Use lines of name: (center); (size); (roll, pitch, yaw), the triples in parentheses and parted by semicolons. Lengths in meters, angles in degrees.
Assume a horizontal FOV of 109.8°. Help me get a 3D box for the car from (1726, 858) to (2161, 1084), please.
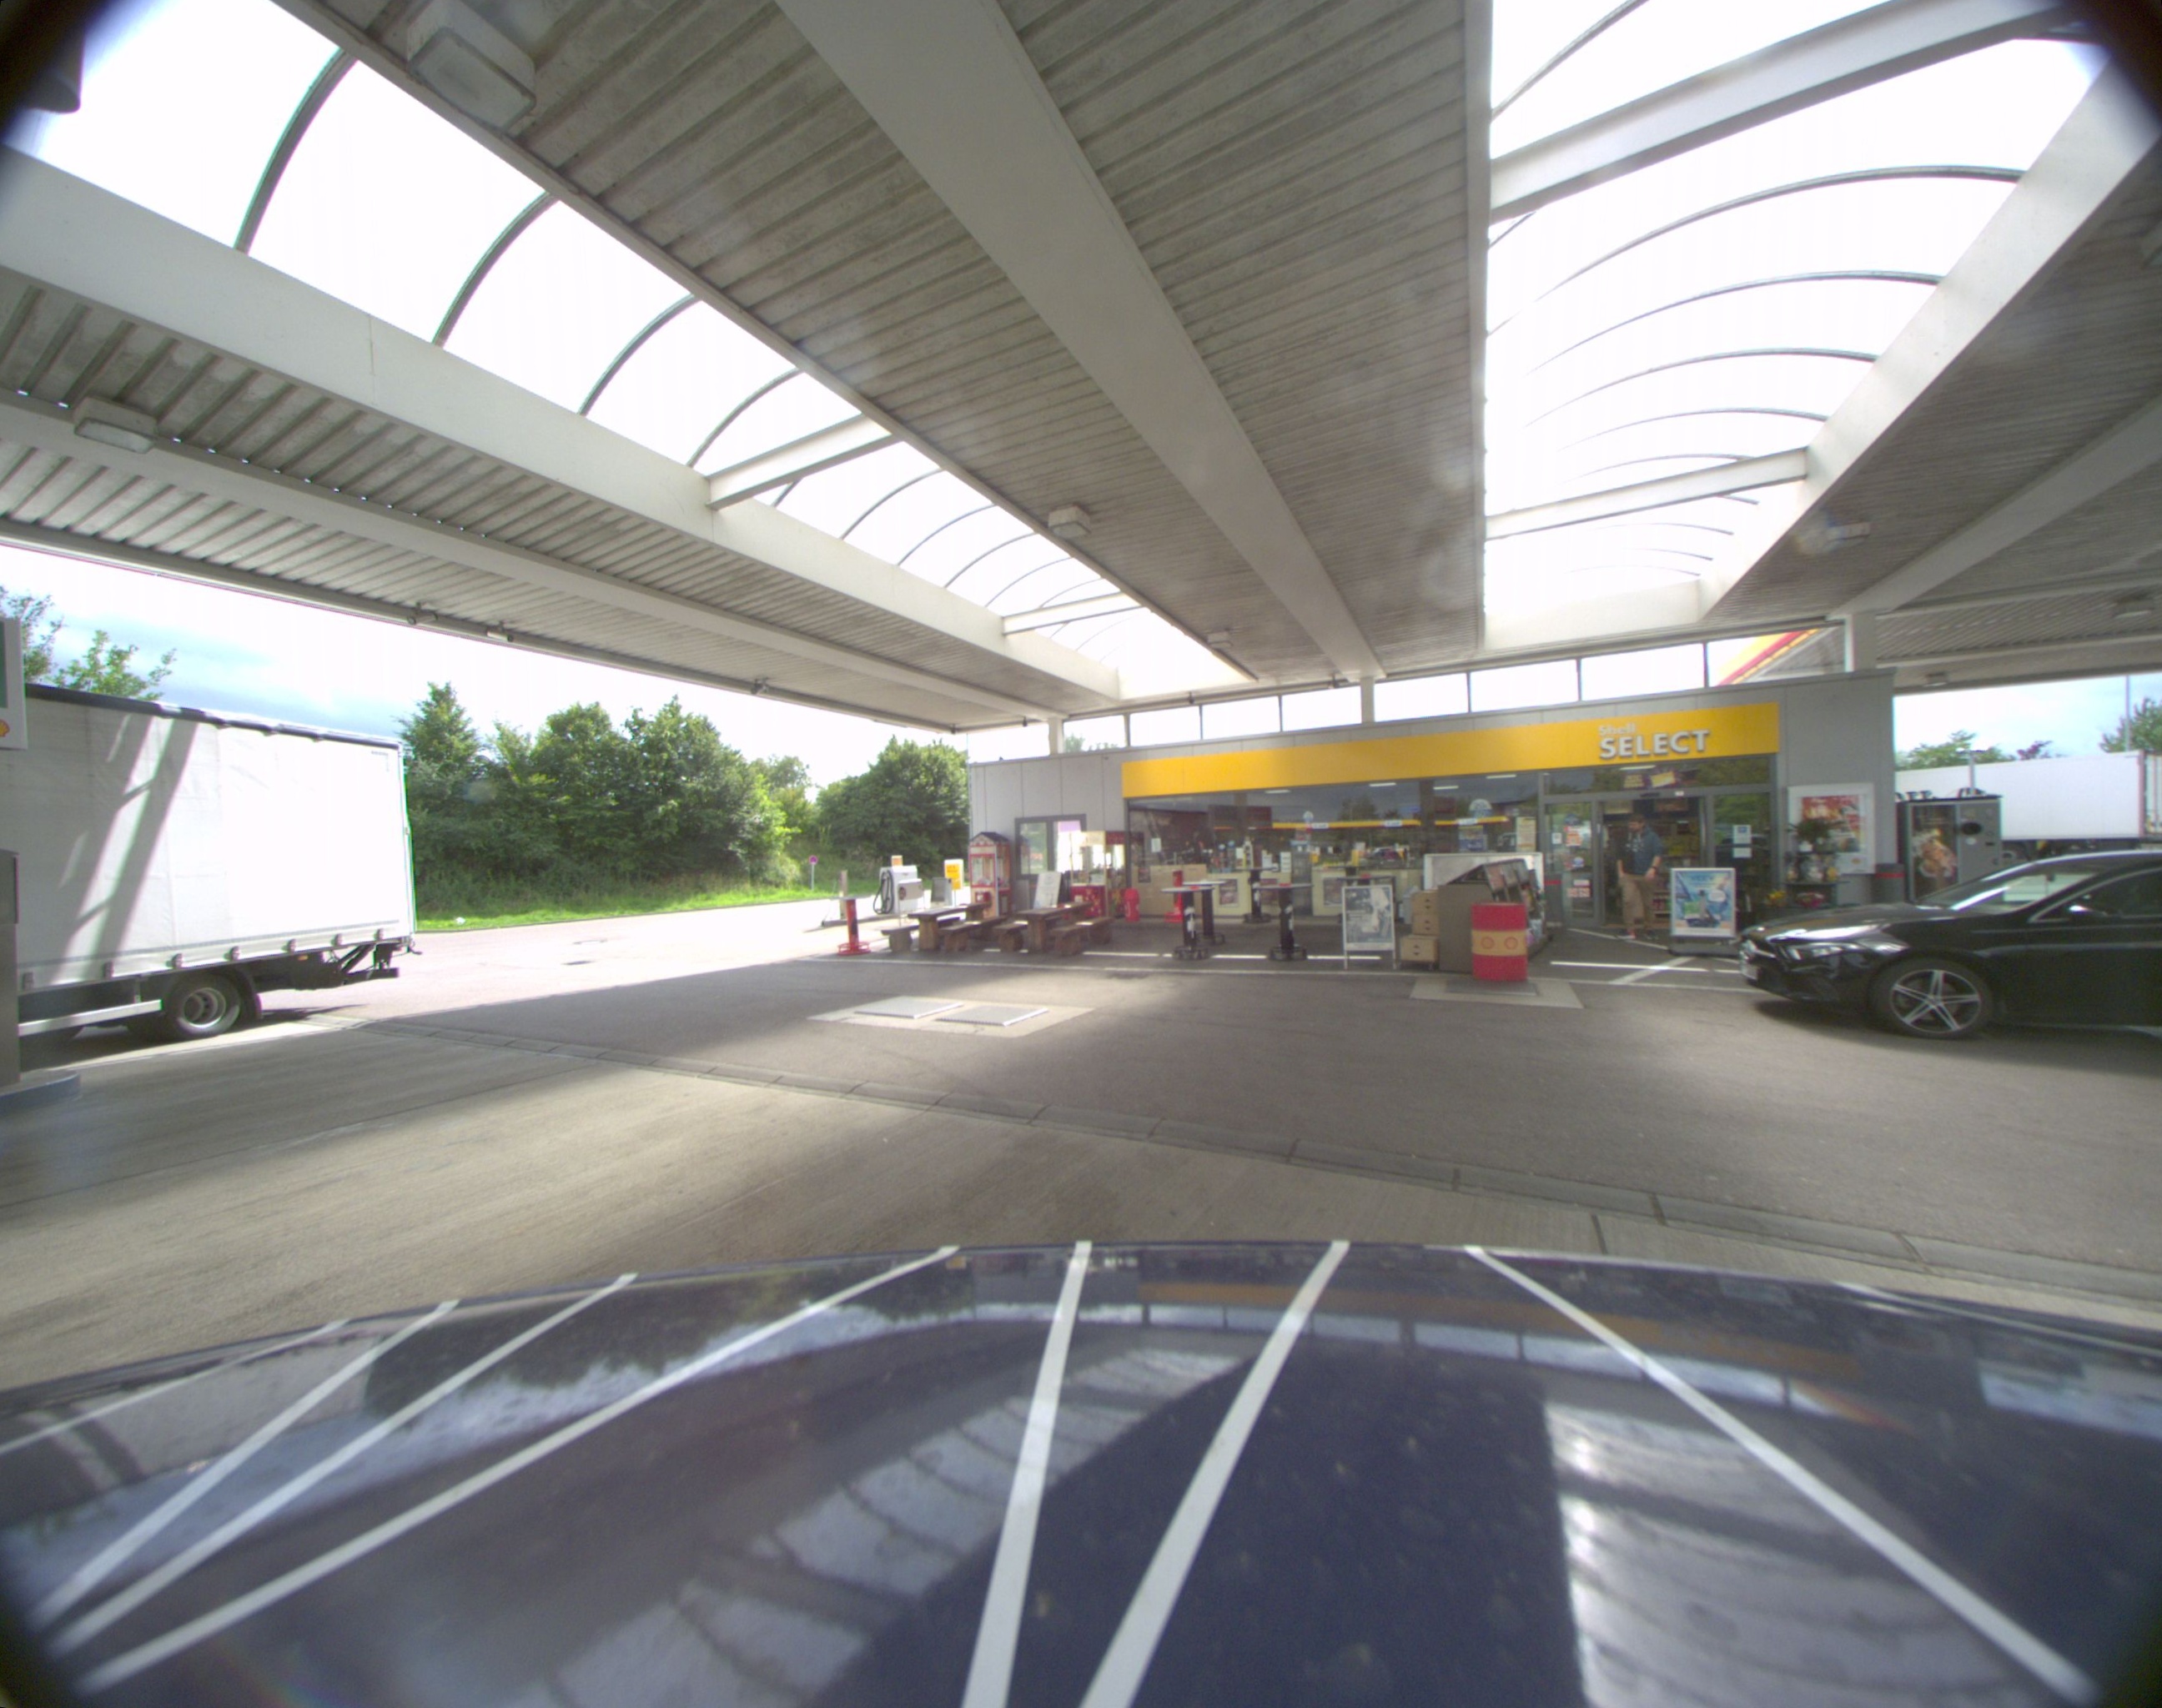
car: (8.143, 0.819, 5.921); (4.461, 1.491, 1.782); (-2, 1, 28)

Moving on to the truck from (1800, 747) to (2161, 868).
truck: (35.127, -1.600, 30.057); (2.796, 3.982, 9.578); (-2, 1, -16)

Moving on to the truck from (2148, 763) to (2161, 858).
truck: (51.476, -2.022, 33.137); (3.383, 4.479, 6.239); (-2, 1, 29)

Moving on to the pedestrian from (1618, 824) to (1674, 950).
pedestrian: (8.694, 0.498, 11.706); (0.580, 1.895, 0.510); (-2, 1, 27)
